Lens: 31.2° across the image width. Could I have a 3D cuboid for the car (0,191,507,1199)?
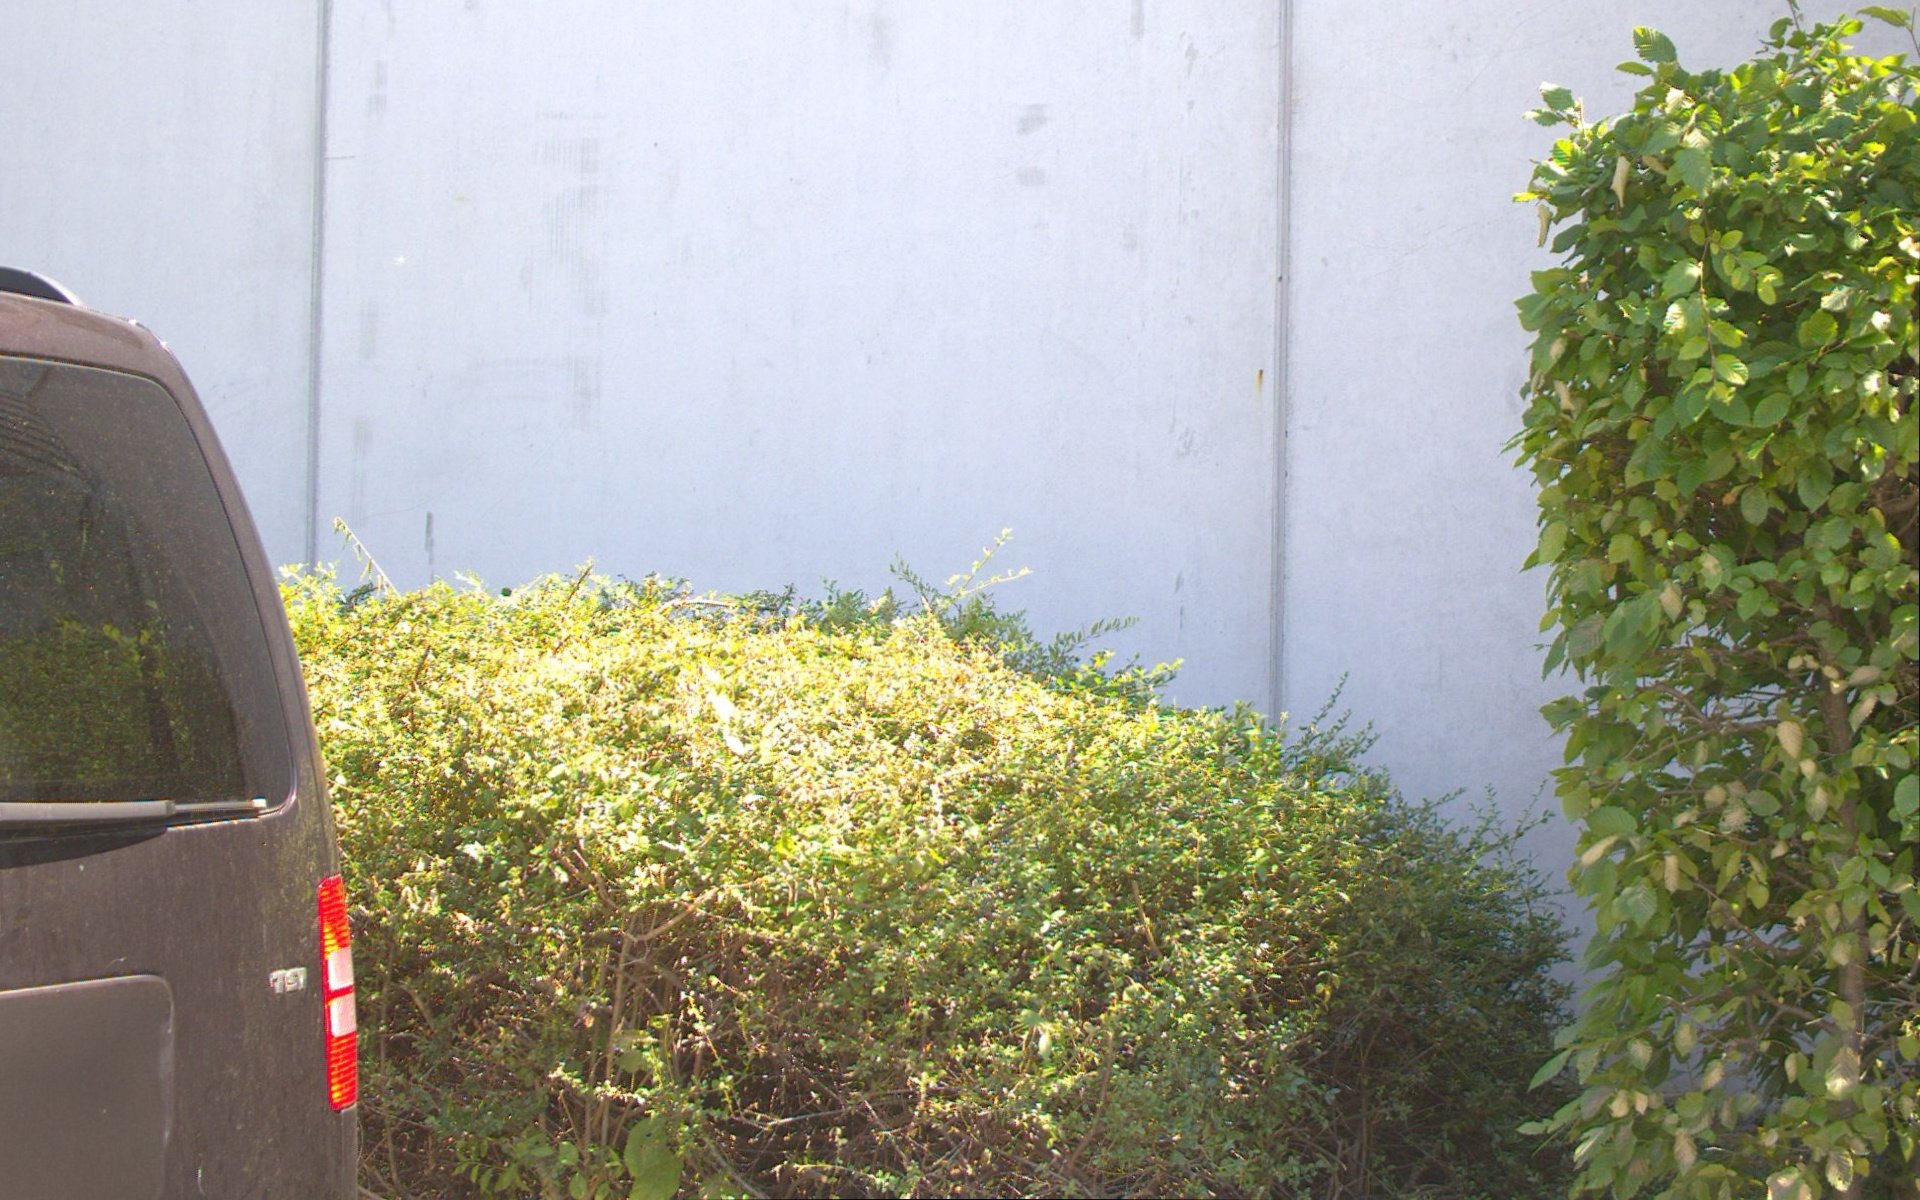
[{"bbox_3d":[-2.735,0.468,4.849,4.066,1.877,1.675,1,1,34],"label":"car"}]
